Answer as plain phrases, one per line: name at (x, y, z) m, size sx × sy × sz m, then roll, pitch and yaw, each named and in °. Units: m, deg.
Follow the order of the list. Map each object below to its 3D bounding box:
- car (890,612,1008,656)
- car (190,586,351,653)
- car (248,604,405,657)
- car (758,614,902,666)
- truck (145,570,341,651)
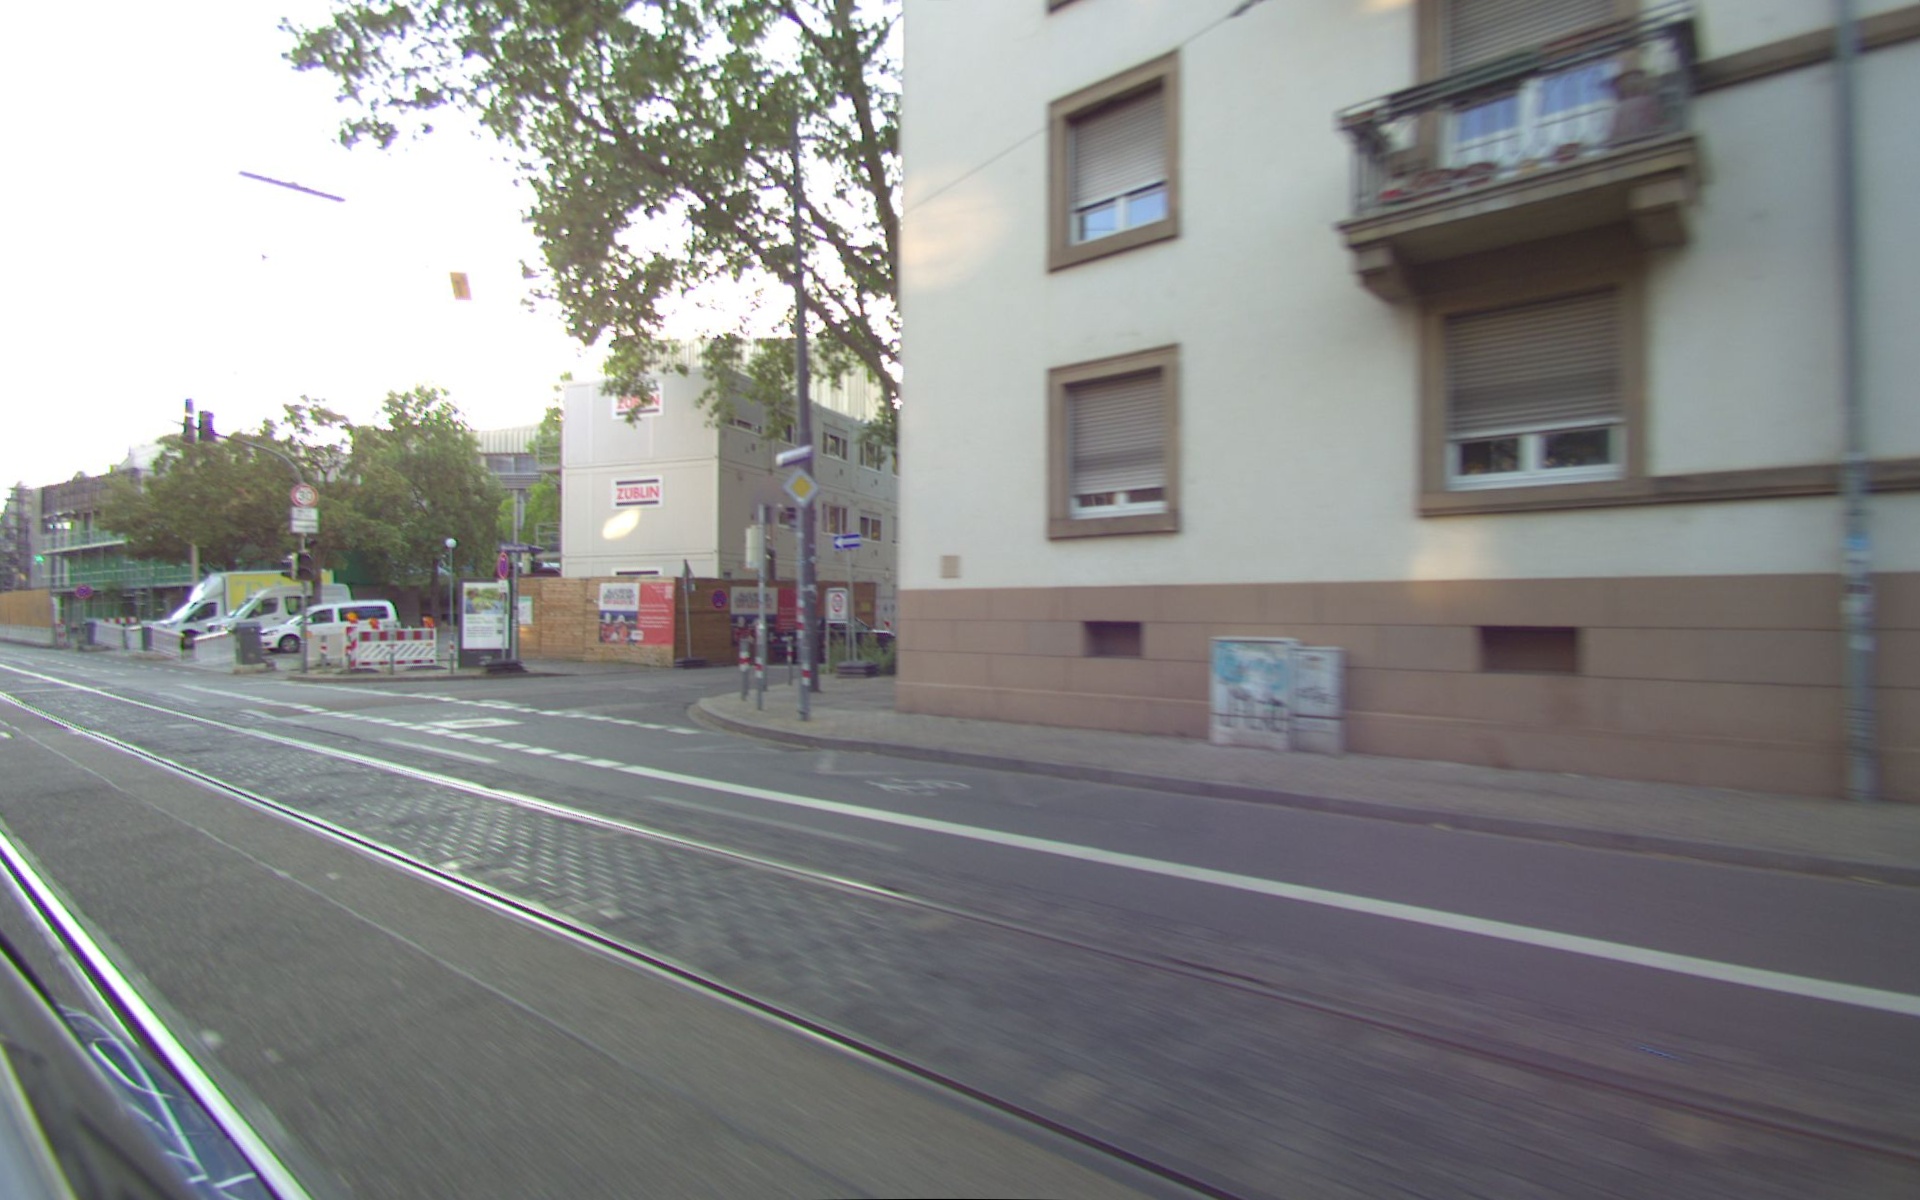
car at (-0.330, 1.159, 34.869) m, size 1.758 × 1.370 × 4.036 m, roll -4°, pitch -3°, yaw 42°
car at (-28.909, 0.800, 42.577) m, size 2.226 × 2.617 × 5.170 m, roll -2°, pitch -1°, yaw 37°
car at (-24.426, 1.144, 39.134) m, size 2.015 × 1.888 × 4.781 m, roll -2°, pitch -1°, yaw 42°
car at (-3.802, 1.173, 30.040) m, size 1.758 × 1.370 × 4.036 m, roll -4°, pitch -3°, yaw 42°
truck at (-33.045, 0.476, 46.931) m, size 2.562 × 3.454 × 6.991 m, roll -2°, pitch -1°, yaw 37°
